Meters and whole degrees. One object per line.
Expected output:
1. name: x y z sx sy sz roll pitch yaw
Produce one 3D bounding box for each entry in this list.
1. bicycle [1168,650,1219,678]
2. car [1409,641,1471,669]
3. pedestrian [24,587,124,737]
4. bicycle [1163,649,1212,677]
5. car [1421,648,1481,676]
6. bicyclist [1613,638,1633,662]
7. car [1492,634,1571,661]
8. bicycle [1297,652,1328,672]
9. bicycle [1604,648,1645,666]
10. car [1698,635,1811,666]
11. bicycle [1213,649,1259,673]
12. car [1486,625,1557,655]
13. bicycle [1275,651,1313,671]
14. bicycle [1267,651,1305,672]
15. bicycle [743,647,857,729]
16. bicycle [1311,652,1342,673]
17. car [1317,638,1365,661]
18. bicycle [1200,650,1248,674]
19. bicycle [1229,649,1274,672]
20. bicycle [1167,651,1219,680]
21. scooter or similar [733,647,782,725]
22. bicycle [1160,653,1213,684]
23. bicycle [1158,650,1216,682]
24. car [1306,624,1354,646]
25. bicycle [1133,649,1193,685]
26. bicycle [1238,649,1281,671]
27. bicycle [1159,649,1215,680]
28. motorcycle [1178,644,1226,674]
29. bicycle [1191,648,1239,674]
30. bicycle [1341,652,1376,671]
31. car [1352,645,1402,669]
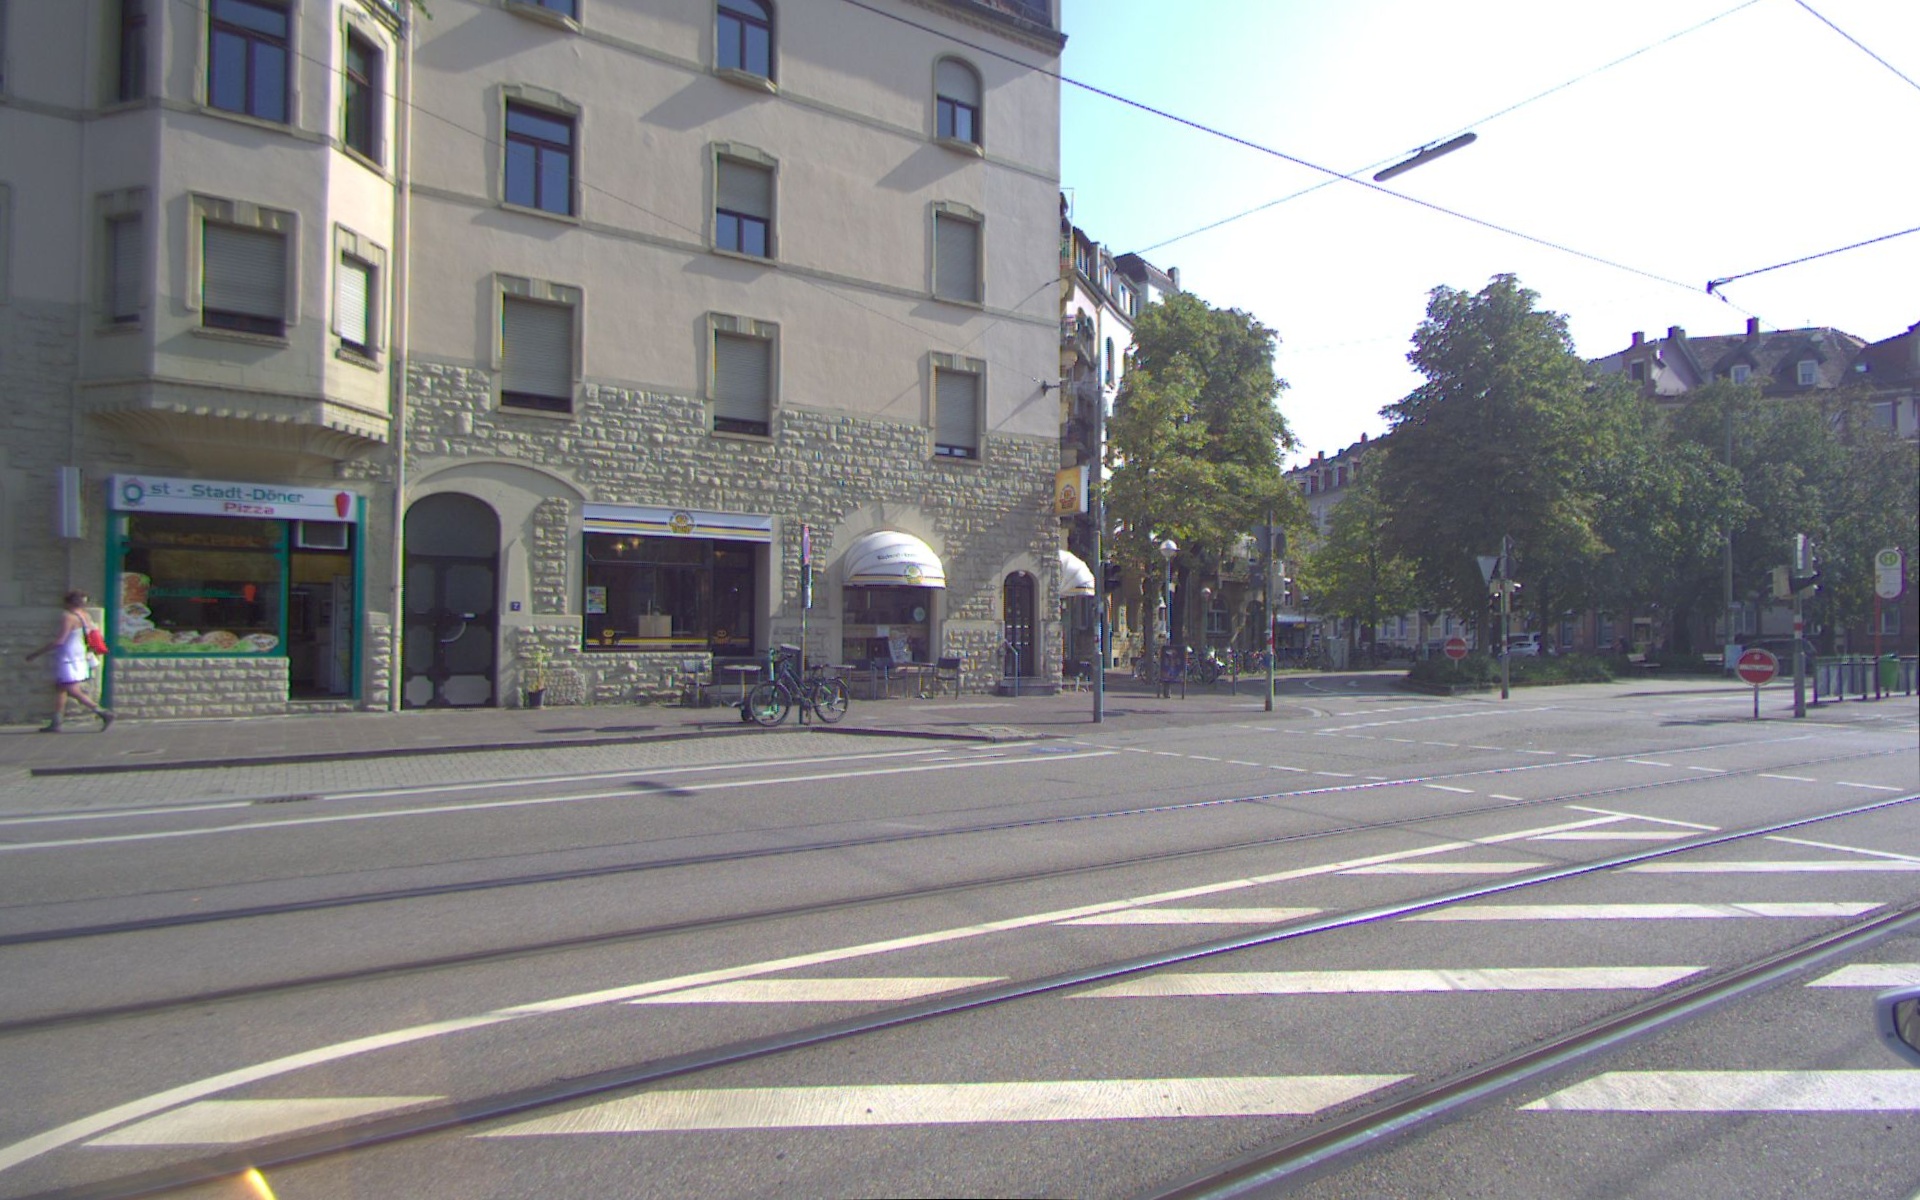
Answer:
1. bicycle: 8.724 2.369 37.532 1.769 0.996 0.660 0 -2 19
2. car: 33.057 3.796 69.298 1.963 1.852 3.996 0 -2 -8
3. pedestrian: -11.611 0.799 13.198 0.821 1.884 0.769 1 -2 -33
4. bicycle: 8.734 2.411 38.546 1.769 0.989 0.660 0 -2 19
5. car: 35.301 4.441 72.378 1.964 1.852 3.995 0 -2 -9
6. bicyclist: 37.238 2.789 56.423 0.810 1.345 0.545 -2 -3 45
7. car: 34.266 2.840 60.337 1.962 1.589 4.333 0 -2 -6
8. bicycle: 17.503 3.079 49.836 1.750 0.990 0.422 1 -2 -32
9. bicycle: 37.277 3.189 56.365 0.545 0.970 1.832 2 -3 -44
10. car: 41.670 2.620 52.792 4.253 1.589 1.999 -1 -2 23
11. bicycle: 12.169 2.670 44.234 1.865 0.993 0.685 0 -2 26
12. car: 36.280 2.597 64.991 1.964 1.852 3.995 0 -2 -9
13. bicycle: 16.946 3.094 50.940 1.742 0.990 0.603 -2 -3 37
14. bicycle: 16.356 3.078 50.424 1.742 0.990 0.518 -2 -3 38
15. bicycle: -2.523 1.372 16.024 1.842 1.242 0.449 2 -3 -41
16. bicycle: 18.180 3.090 49.817 1.750 0.990 0.422 1 -2 -32
17. car: 31.300 4.057 82.686 1.964 1.852 3.995 0 -2 -9
18. bicycle: 11.286 2.642 42.980 1.876 0.947 0.737 0 -2 26
19. bicycle: 13.144 2.709 45.241 1.865 0.993 0.685 0 -2 26
20. bicycle: 8.442 2.347 36.350 1.769 0.997 0.570 0 -2 19
21. scooter or similar: -3.261 1.371 16.245 0.359 1.213 1.035 0 -2 13
22. bicycle: 7.237 2.181 32.112 1.577 0.932 0.479 1 -2 0
23. bicycle: 7.577 2.194 33.554 1.840 1.017 0.570 1 -2 6
24. car: 32.562 3.095 88.589 1.968 1.852 3.986 1 -2 -17
25. bicycle: 6.610 2.188 32.770 1.844 1.127 0.569 1 -2 -10
26. bicycle: 13.887 2.778 46.616 1.851 0.947 0.635 -1 -3 42
27. bicycle: 7.916 2.244 35.011 1.841 1.047 0.570 0 -2 21
28. motorcycle: 9.902 2.413 41.073 1.840 1.169 0.607 0 -2 26
29. bicycle: 10.636 2.546 41.882 1.843 1.041 0.663 0 -2 26
30. bicycle: 20.658 3.179 52.090 0.596 0.990 1.761 1 -2 -23
31. car: 33.872 4.641 81.765 1.964 1.852 3.995 0 -2 -9
